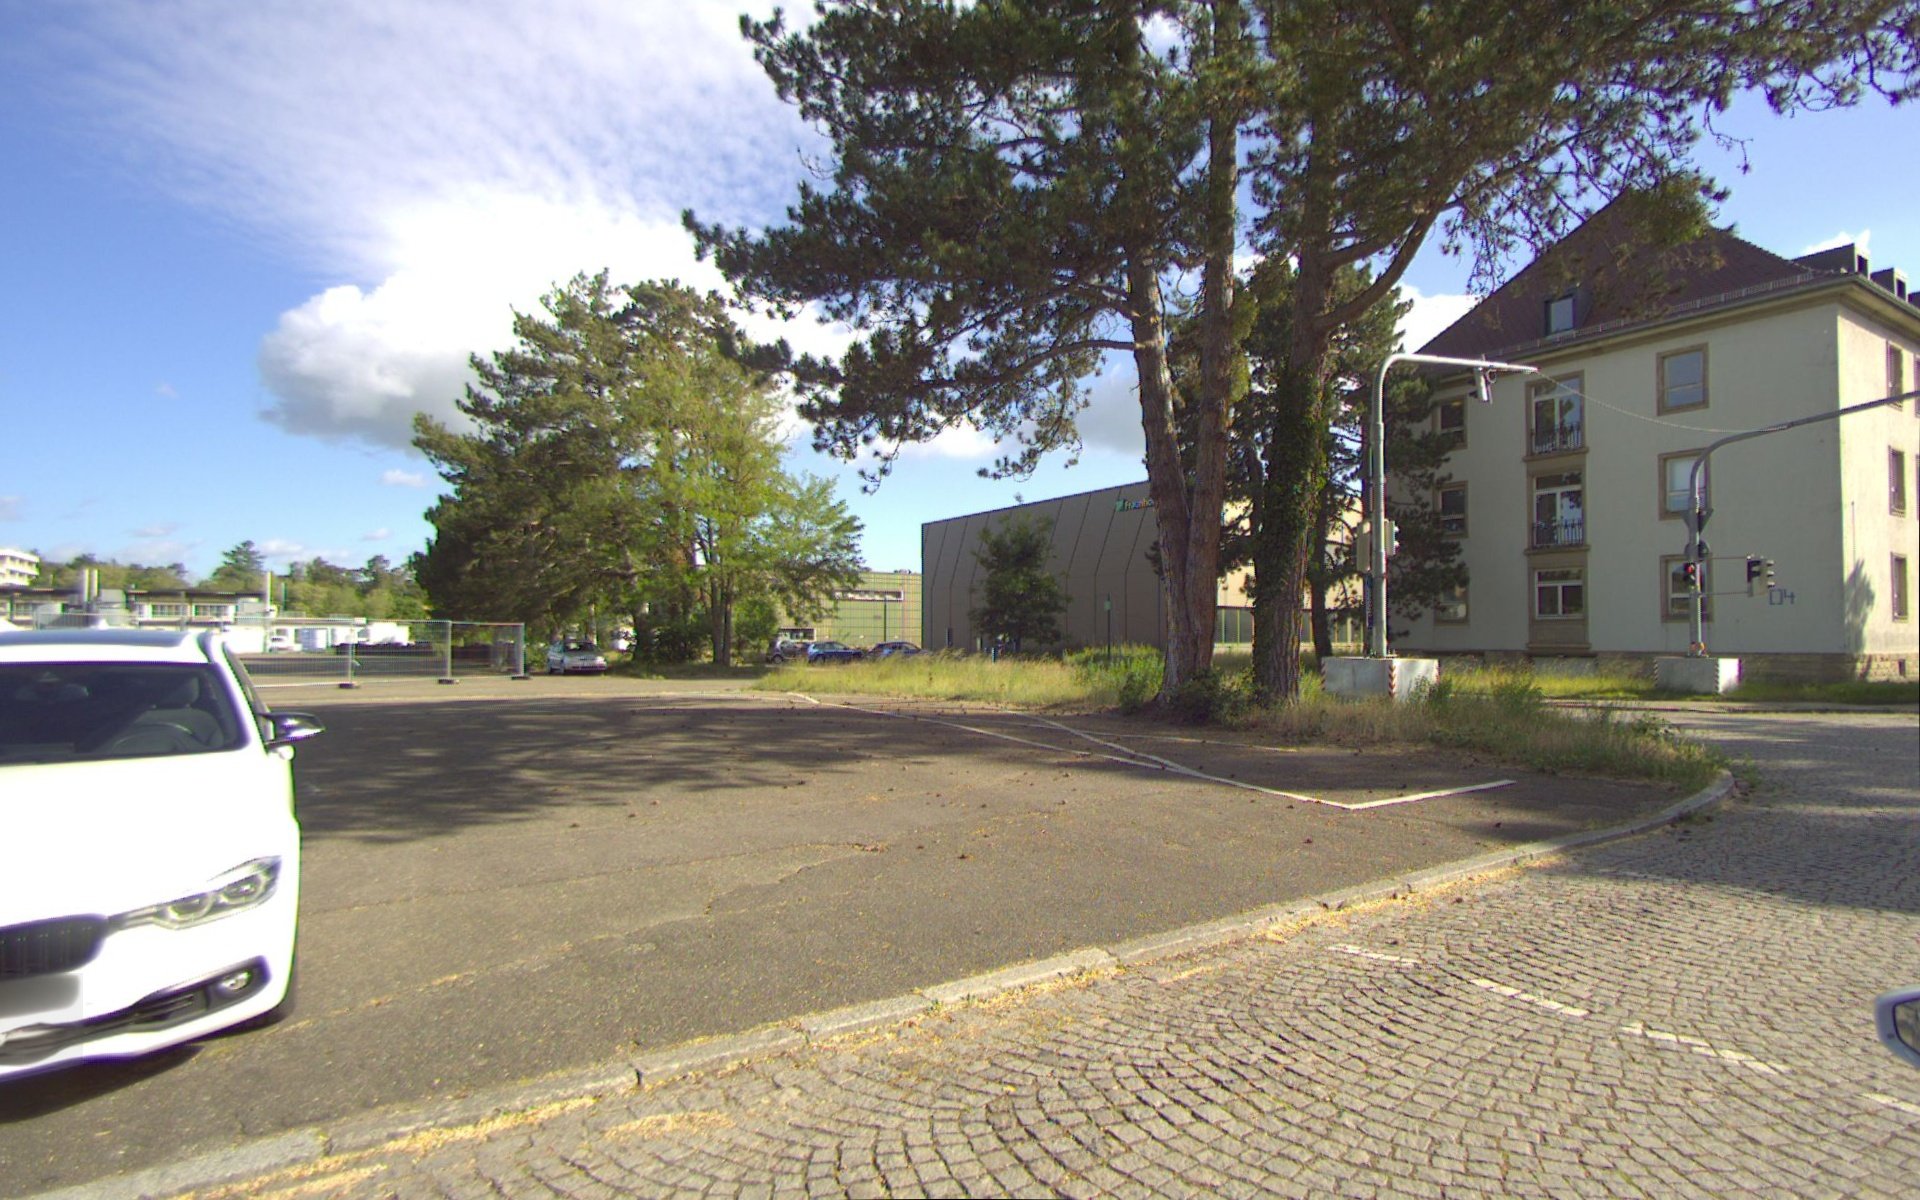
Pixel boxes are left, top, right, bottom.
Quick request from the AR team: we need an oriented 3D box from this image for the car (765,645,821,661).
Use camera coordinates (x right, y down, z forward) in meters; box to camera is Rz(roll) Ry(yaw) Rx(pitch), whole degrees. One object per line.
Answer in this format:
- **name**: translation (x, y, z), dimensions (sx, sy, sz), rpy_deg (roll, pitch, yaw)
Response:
- **car**: translation (-11.634, 3.656, 69.977), dimensions (3.635, 1.090, 1.399), rpy_deg (1, -2, -30)

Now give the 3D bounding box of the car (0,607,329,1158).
- **car**: translation (-4.095, 0.828, 4.685), dimensions (1.735, 1.487, 4.511), rpy_deg (1, 0, -35)

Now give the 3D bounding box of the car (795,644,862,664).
- **car**: translation (-8.304, 3.399, 63.503), dimensions (3.952, 1.221, 1.480), rpy_deg (1, -2, -30)

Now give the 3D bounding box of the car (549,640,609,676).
- **car**: translation (-15.664, 2.342, 41.221), dimensions (1.727, 1.388, 3.593), rpy_deg (1, -2, -30)

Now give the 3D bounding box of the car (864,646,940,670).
- **car**: translation (-3.215, 3.189, 55.715), dimensions (4.004, 1.311, 1.480), rpy_deg (1, -2, -31)
